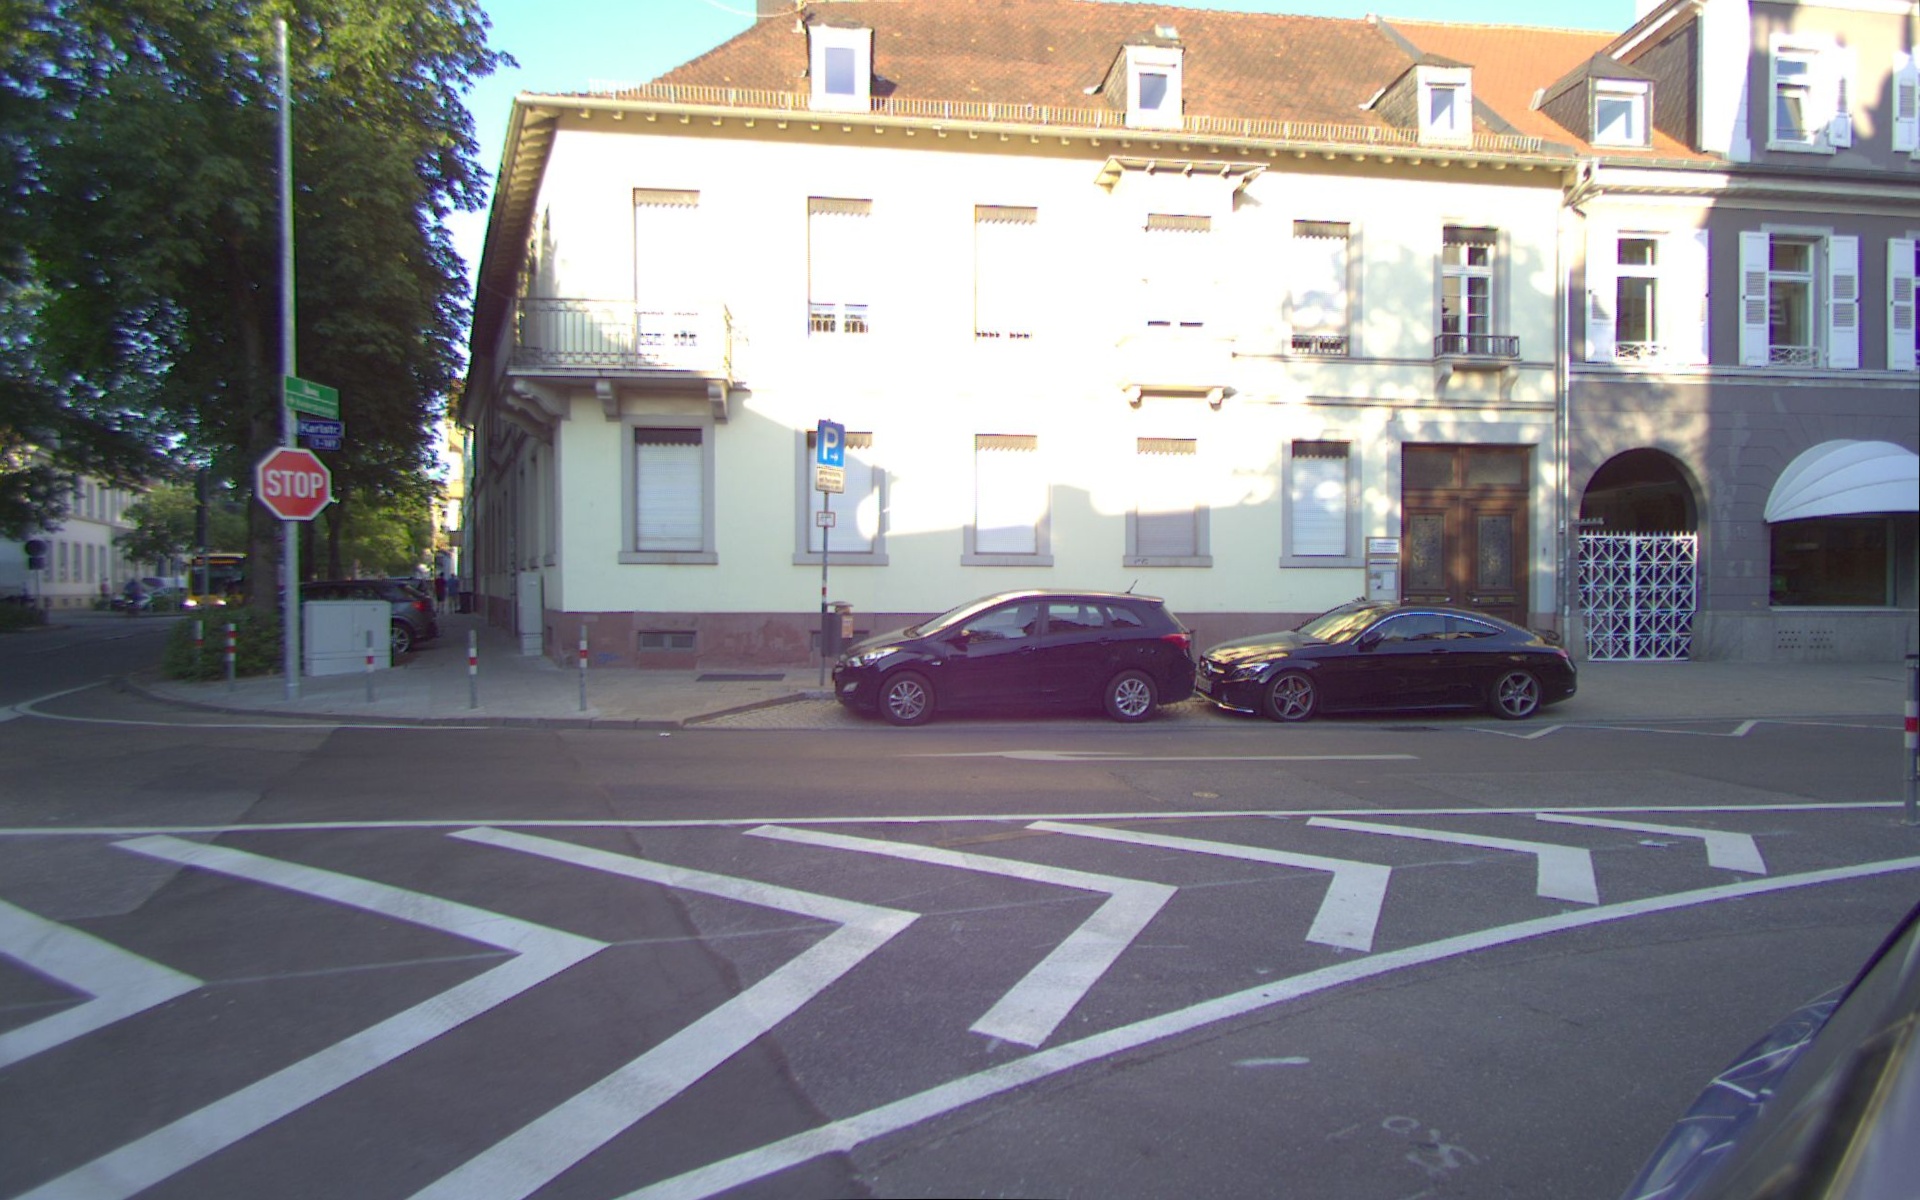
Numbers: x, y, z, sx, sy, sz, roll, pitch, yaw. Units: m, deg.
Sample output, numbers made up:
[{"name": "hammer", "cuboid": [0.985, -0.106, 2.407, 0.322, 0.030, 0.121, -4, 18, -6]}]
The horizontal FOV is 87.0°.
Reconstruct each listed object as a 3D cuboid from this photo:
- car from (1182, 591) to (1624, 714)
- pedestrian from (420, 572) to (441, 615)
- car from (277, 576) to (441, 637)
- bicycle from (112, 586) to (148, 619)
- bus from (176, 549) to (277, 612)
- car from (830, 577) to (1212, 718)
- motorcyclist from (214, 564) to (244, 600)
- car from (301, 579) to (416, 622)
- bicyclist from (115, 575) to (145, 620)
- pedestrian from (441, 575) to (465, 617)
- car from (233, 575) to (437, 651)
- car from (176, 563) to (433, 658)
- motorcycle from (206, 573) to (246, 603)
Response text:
[{"name": "car", "cuboid": [5.390, 0.605, 12.678, 4.761, 1.412, 1.780, 0, 0, -4]}, {"name": "pedestrian", "cuboid": [-22.558, -0.283, 43.117, 0.791, 1.793, 1.023, 0, 0, -29]}, {"name": "car", "cuboid": [-17.070, 0.151, 28.912, 3.920, 1.635, 1.725, -1, 1, -30]}, {"name": "bicycle", "cuboid": [-35.049, 0.098, 42.759, 0.768, 1.346, 2.081, -2, 2, -28]}, {"name": "bus", "cuboid": [-39.542, -1.054, 54.965, 2.659, 3.037, 12.098, -2, 2, -28]}, {"name": "car", "cuboid": [0.634, 0.532, 12.319, 4.342, 1.561, 1.809, 0, 0, -5]}, {"name": "motorcyclist", "cuboid": [-29.714, -0.742, 41.136, 0.777, 1.438, 0.700, -2, 1, -20]}, {"name": "car", "cuboid": [-24.281, -0.006, 41.004, 3.920, 1.635, 1.725, -1, 1, -30]}, {"name": "bicyclist", "cuboid": [-35.049, -0.130, 42.747, 0.768, 1.862, 0.828, -2, 1, -28]}, {"name": "pedestrian", "cuboid": [-21.820, -0.173, 43.530, 0.877, 1.793, 1.023, 0, 0, -29]}, {"name": "car", "cuboid": [-14.412, 0.249, 23.558, 3.920, 1.635, 1.725, -1, 1, -30]}, {"name": "car", "cuboid": [-12.202, 0.157, 19.133, 3.920, 1.635, 1.831, 0, 1, -30]}, {"name": "motorcycle", "cuboid": [-29.601, -0.484, 40.853, 0.777, 1.175, 1.971, -2, 1, -20]}]
